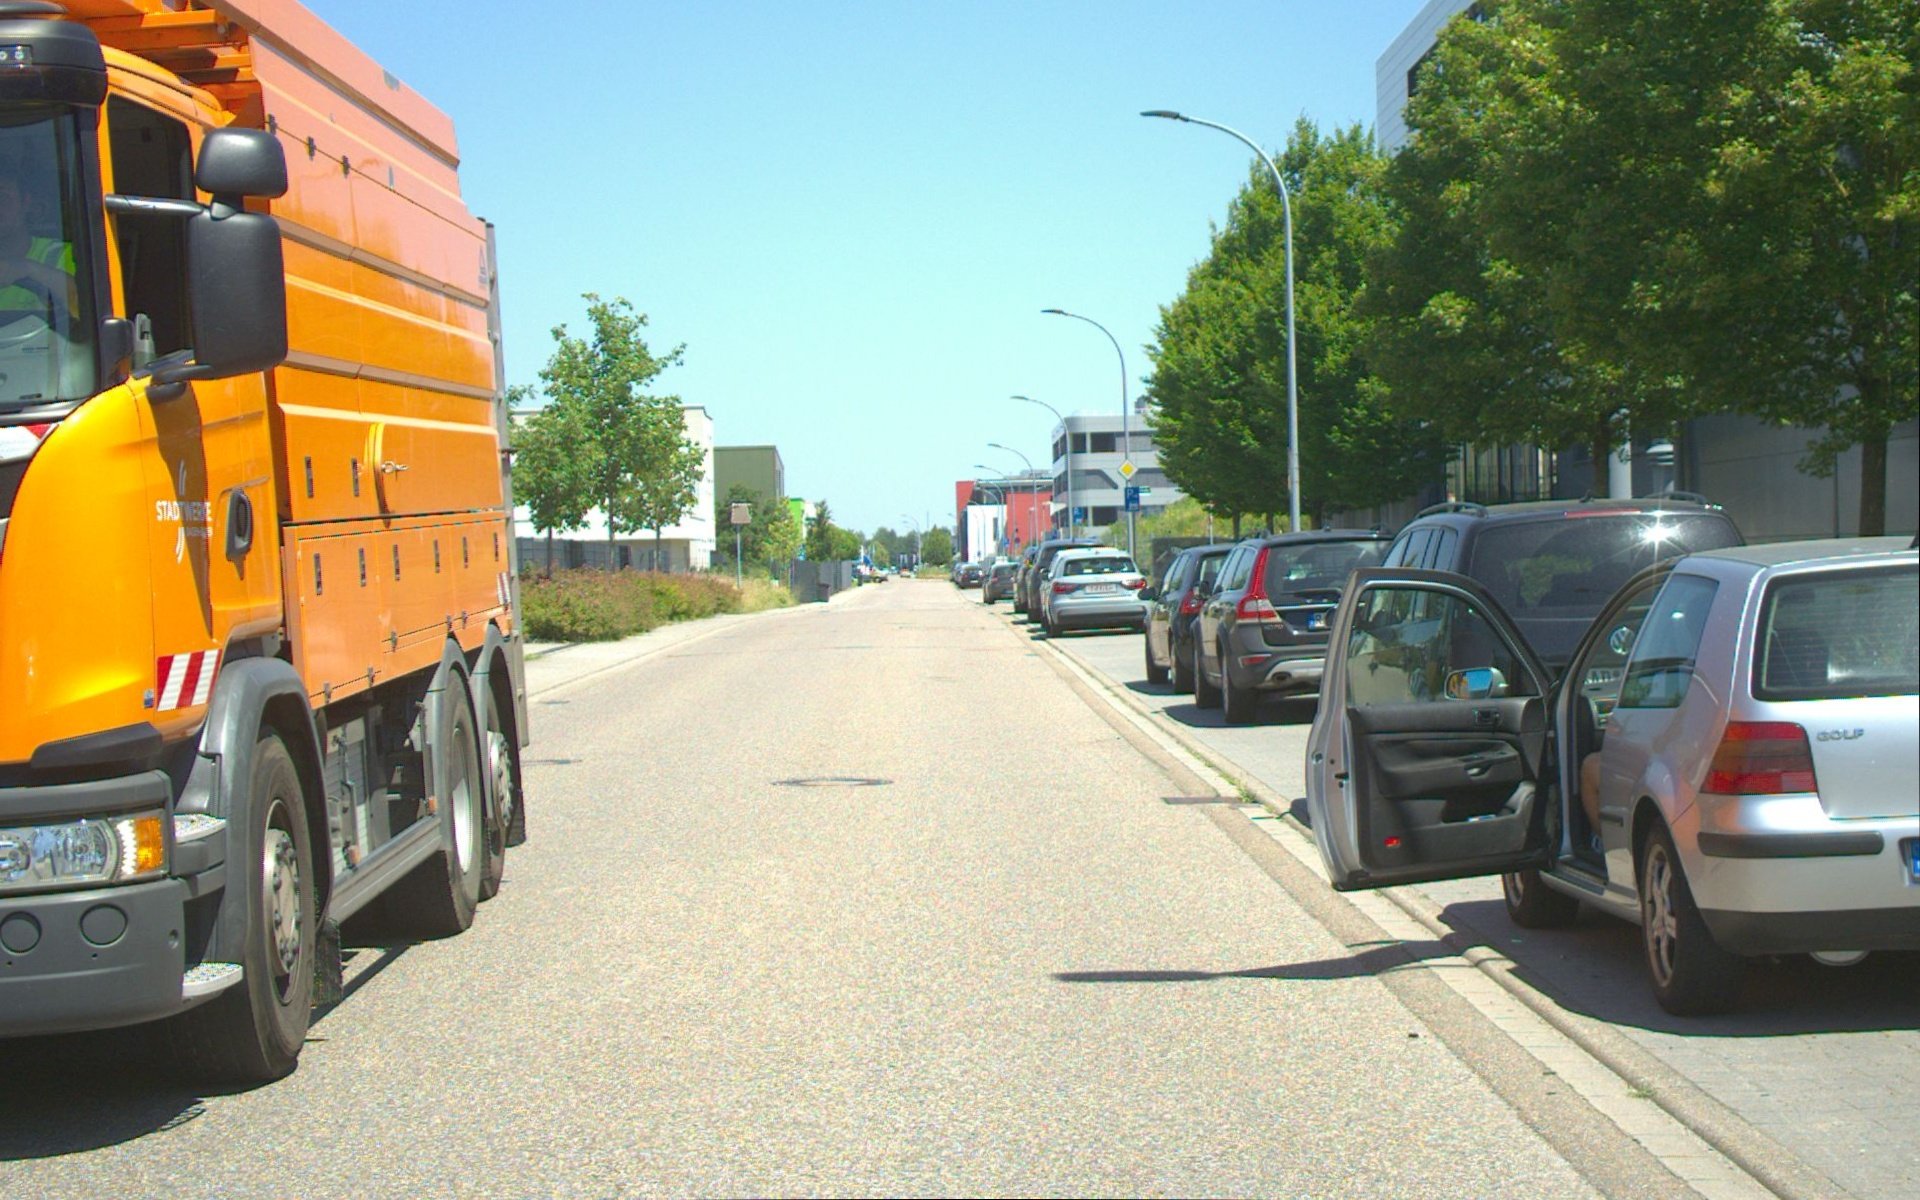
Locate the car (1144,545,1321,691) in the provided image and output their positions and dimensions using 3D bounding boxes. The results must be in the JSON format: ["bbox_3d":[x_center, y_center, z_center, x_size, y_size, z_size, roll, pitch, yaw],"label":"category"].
[{"bbox_3d":[2.789,0.151,35.766,1.495,1.405,3.500,-2,1,-1],"label":"car"}]

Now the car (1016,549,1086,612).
[{"bbox_3d":[2.144,-0.478,81.777,1.495,1.405,3.500,-2,1,-1],"label":"car"}]

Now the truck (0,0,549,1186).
[{"bbox_3d":[-3.255,-0.347,12.559,2.448,3.501,8.273,-3,1,-1],"label":"truck"}]

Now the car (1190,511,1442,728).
[{"bbox_3d":[2.976,0.127,29.429,1.722,1.688,3.984,-2,1,0],"label":"car"}]

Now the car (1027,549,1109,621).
[{"bbox_3d":[2.181,-0.324,70.281,1.495,1.405,3.500,-2,1,-1],"label":"car"}]

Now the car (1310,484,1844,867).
[{"bbox_3d":[2.994,0.314,17.515,1.678,1.680,4.001,-2,1,-4],"label":"car"}]

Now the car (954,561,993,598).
[{"bbox_3d":[0.543,-0.840,138.701,1.495,1.405,3.500,-2,1,-1],"label":"car"}]

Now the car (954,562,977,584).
[{"bbox_3d":[0.377,-1.861,233.972,1.495,1.405,3.500,-2,1,-1],"label":"car"}]

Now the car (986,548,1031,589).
[{"bbox_3d":[1.721,-1.133,122.919,1.495,1.405,3.500,-2,1,-1],"label":"car"}]

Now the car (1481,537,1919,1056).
[{"bbox_3d":[2.937,0.525,11.595,1.718,1.445,3.646,-2,1,-1],"label":"car"}]

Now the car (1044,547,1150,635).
[{"bbox_3d":[2.299,-0.177,58.498,1.585,1.405,3.500,-2,1,-1],"label":"car"}]
